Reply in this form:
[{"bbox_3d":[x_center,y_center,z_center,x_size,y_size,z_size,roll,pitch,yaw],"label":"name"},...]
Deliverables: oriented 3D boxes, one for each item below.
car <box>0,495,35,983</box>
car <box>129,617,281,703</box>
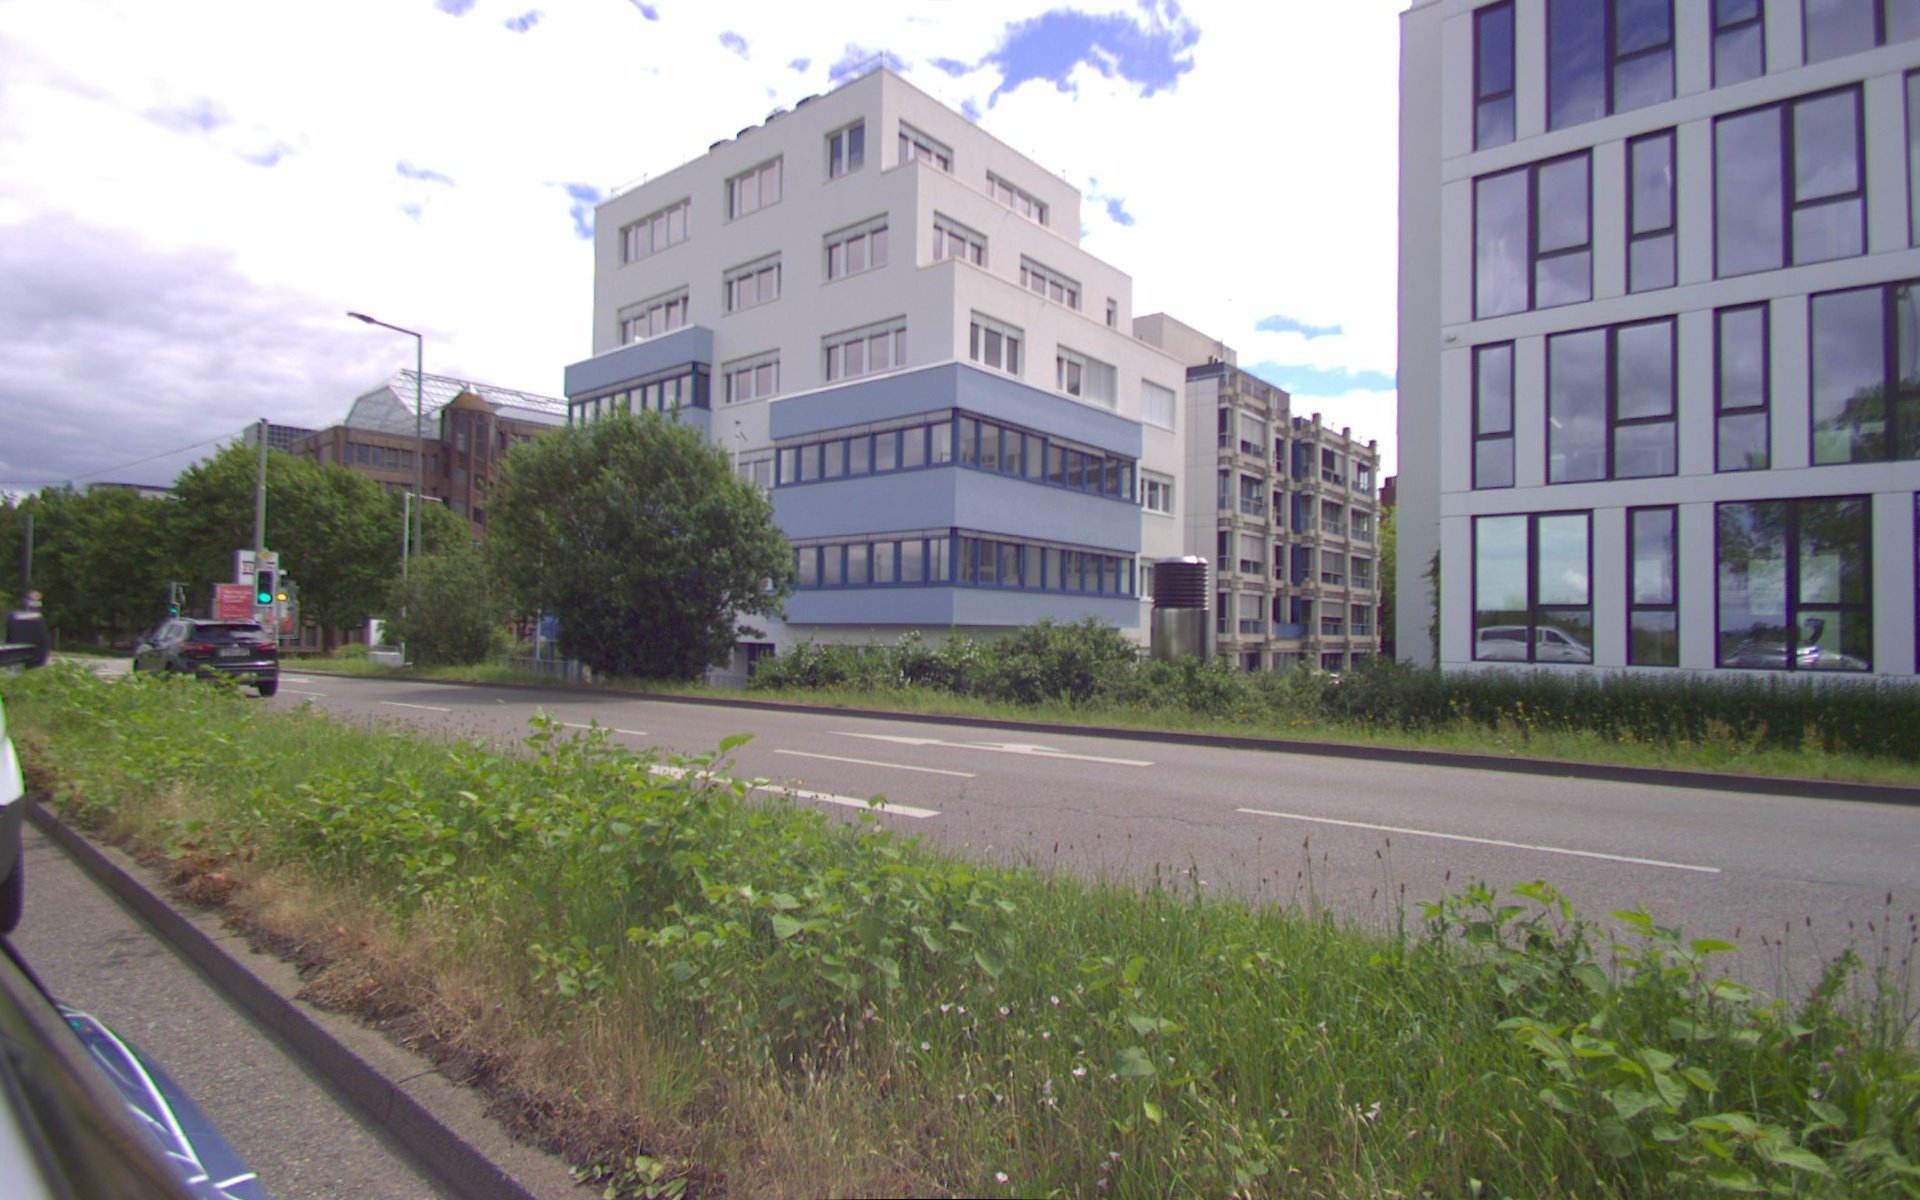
[{"bbox_3d":[-6.331,0.604,5.090,5.052,1.965,1.942,-2,-1,41],"label":"car"},{"bbox_3d":[-15.750,1.175,21.046,4.041,1.614,1.678,-1,-2,41],"label":"car"}]
